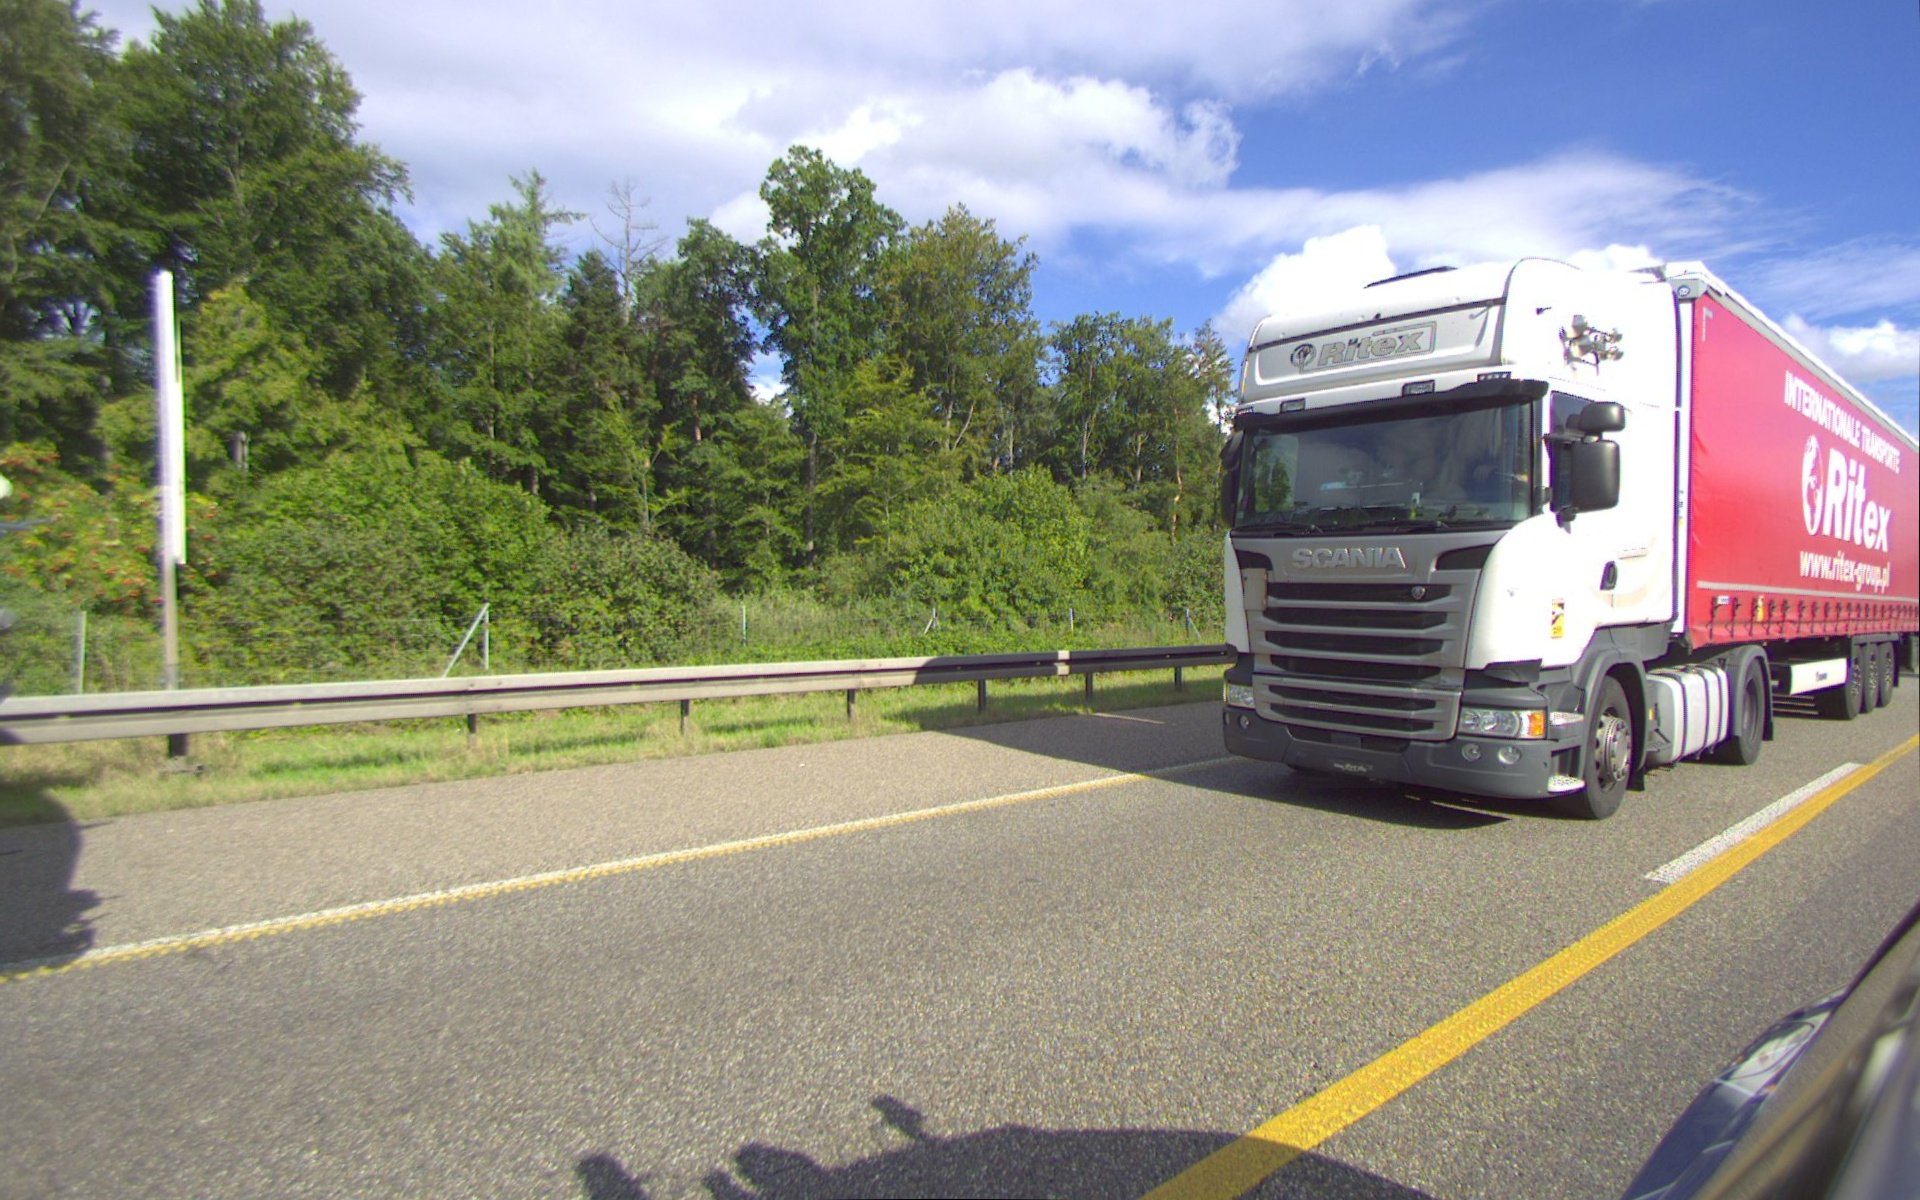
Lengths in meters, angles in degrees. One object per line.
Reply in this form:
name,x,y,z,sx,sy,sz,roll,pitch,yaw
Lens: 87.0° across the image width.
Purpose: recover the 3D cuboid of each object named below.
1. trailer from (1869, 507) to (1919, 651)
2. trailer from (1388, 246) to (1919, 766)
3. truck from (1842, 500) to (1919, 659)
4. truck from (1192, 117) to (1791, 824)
trailer,30.216,-0.561,30.398,11.916,3.822,2.477,0,0,-39
trailer,10.046,-0.751,13.156,13.181,4.019,2.705,0,0,-41
truck,25.179,-0.512,26.294,5.686,3.828,2.500,0,0,-39
truck,4.760,-0.751,8.602,5.611,4.010,2.672,0,0,-41
